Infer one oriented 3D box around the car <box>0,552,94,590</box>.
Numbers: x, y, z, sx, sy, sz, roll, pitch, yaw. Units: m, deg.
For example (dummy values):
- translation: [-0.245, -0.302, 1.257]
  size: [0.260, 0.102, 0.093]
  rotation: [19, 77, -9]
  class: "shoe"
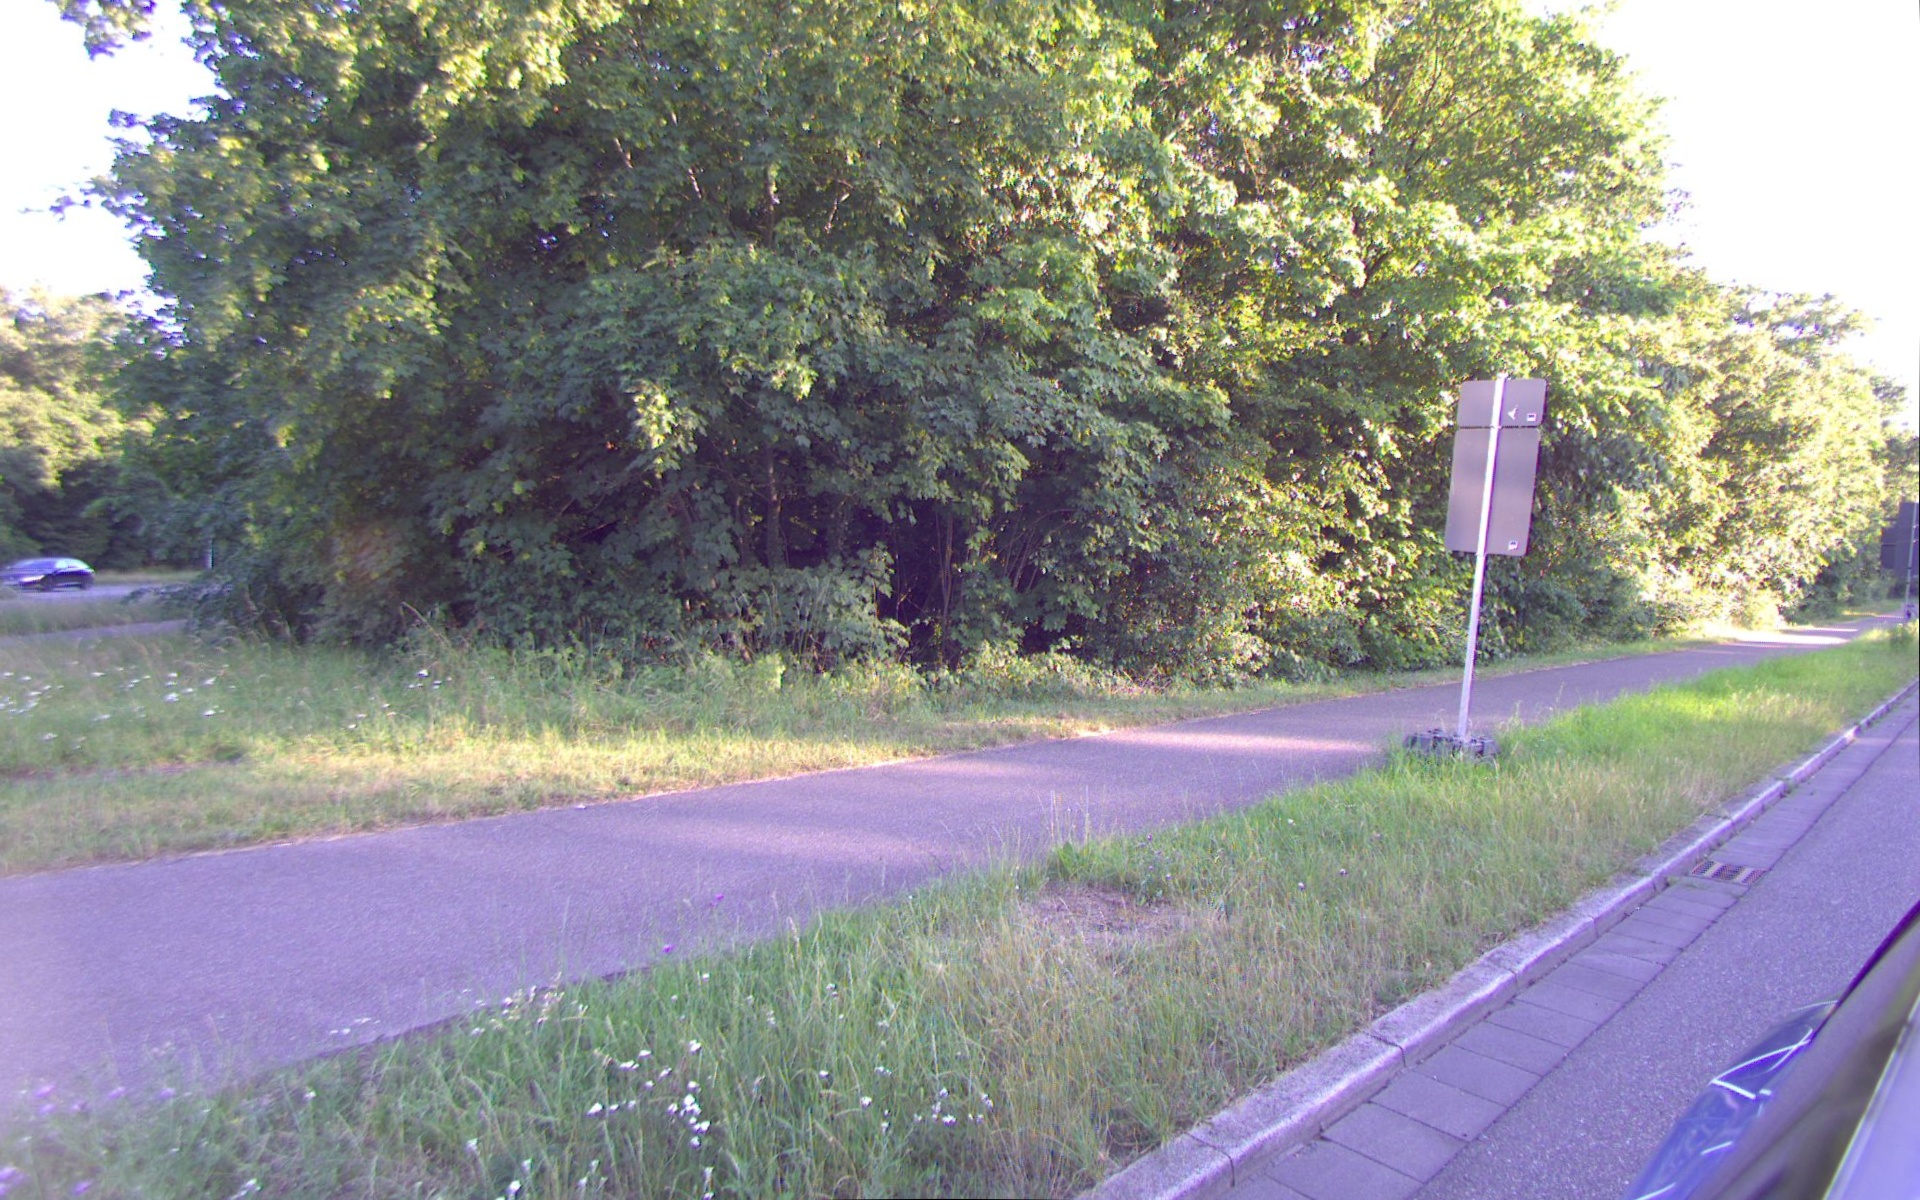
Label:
- translation: [-38.385, -1.200, 42.458]
  size: [1.733, 1.507, 3.884]
  rotation: [0, 1, -18]
  class: "car"
